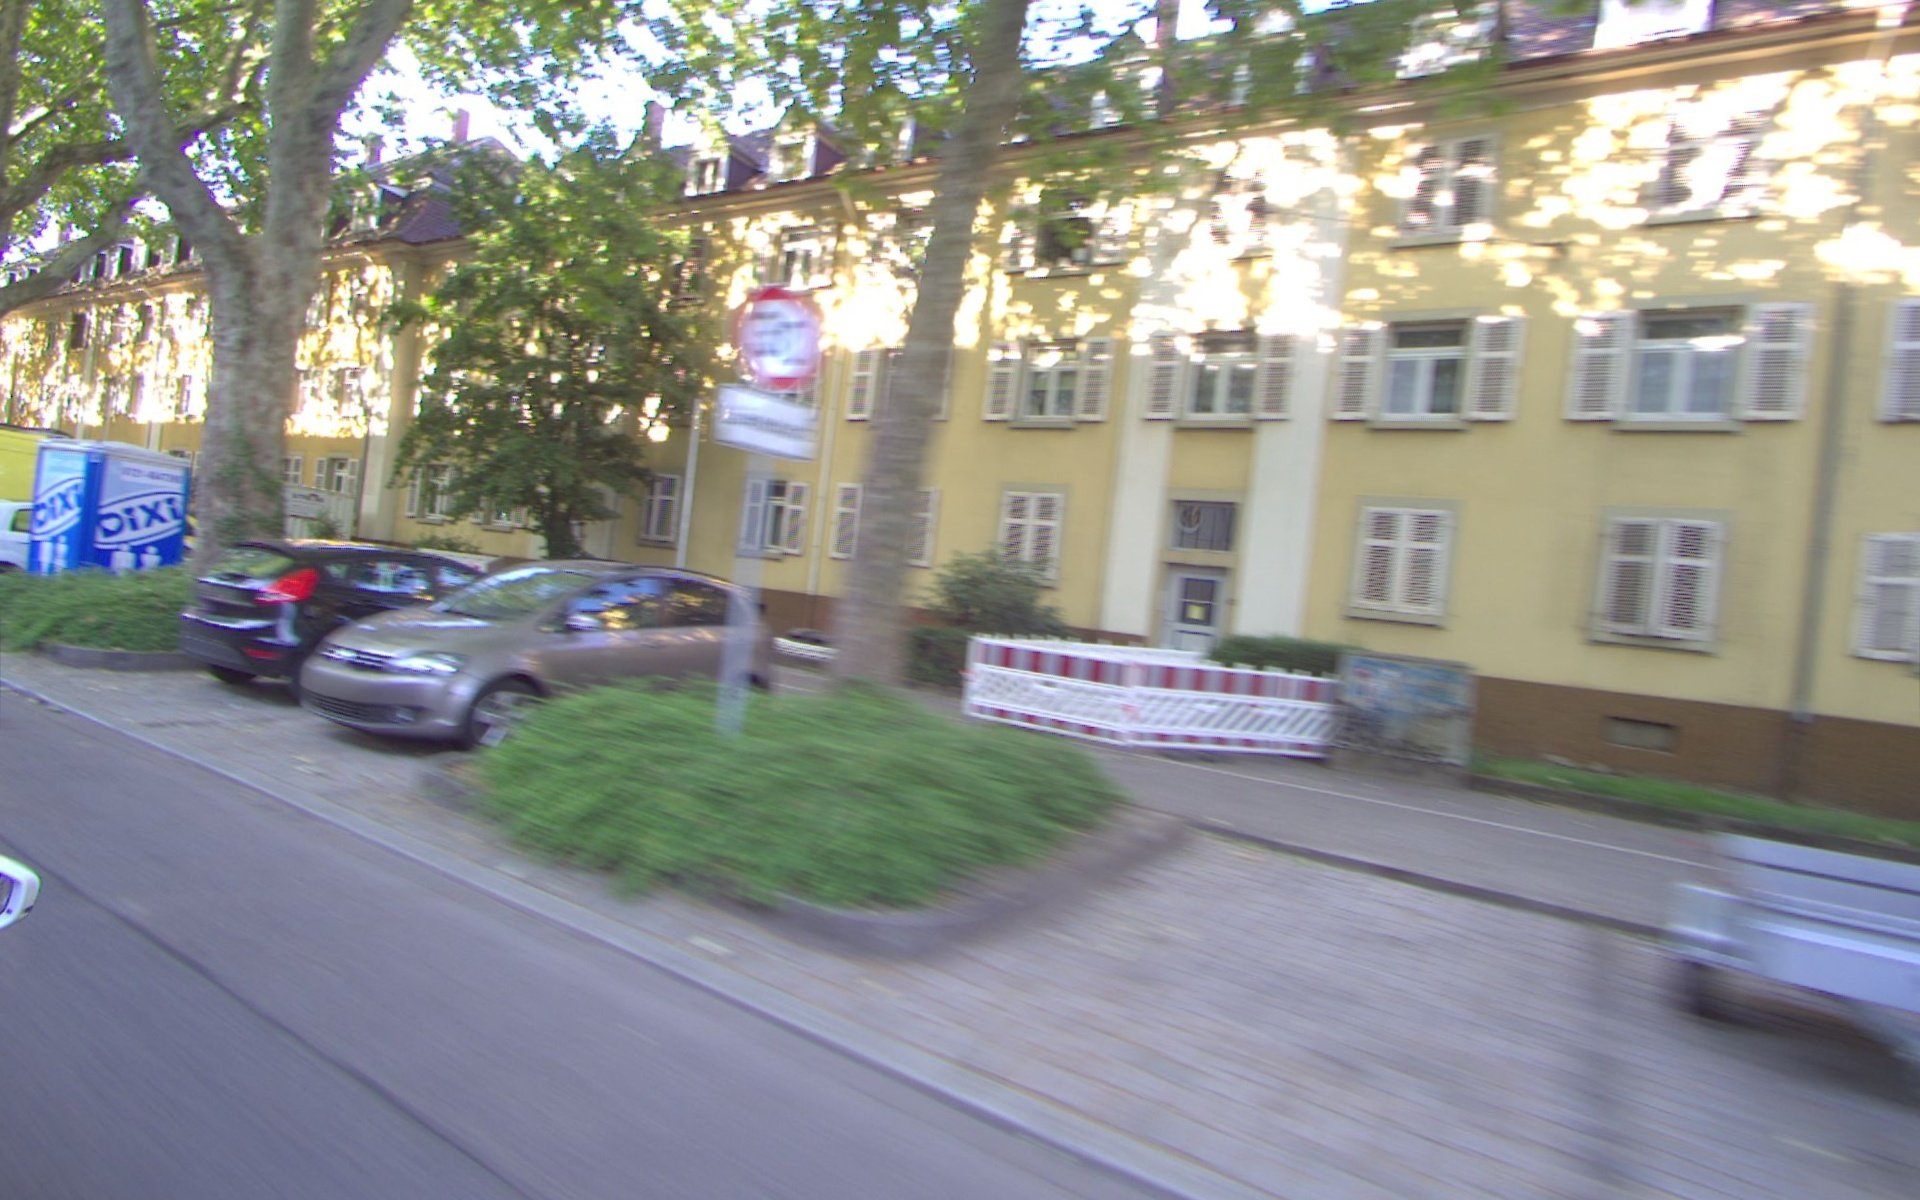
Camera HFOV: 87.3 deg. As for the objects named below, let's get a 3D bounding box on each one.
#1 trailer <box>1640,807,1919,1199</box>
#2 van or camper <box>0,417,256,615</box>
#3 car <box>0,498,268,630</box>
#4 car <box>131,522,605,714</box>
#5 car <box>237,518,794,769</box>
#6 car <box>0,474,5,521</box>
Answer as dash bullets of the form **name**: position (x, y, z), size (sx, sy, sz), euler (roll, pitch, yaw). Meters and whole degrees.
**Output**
- **trailer**: position (3.984, 1.646, 4.396), size (1.415, 0.914, 3.038), euler (6, 0, 38)
- **van or camper**: position (-14.900, -1.398, 15.632), size (2.234, 2.660, 5.932), euler (5, -2, 34)
- **car**: position (-12.529, -0.542, 14.327), size (1.833, 1.507, 3.910), euler (7, -1, 33)
- **car**: position (-5.647, 0.229, 10.077), size (1.707, 1.444, 3.659), euler (7, 0, 28)
- **car**: position (-3.543, 0.385, 8.822), size (1.800, 1.569, 4.082), euler (6, -1, 31)
- **car**: position (-23.021, -2.017, 20.395), size (2.029, 2.037, 4.842), euler (7, -1, 31)
